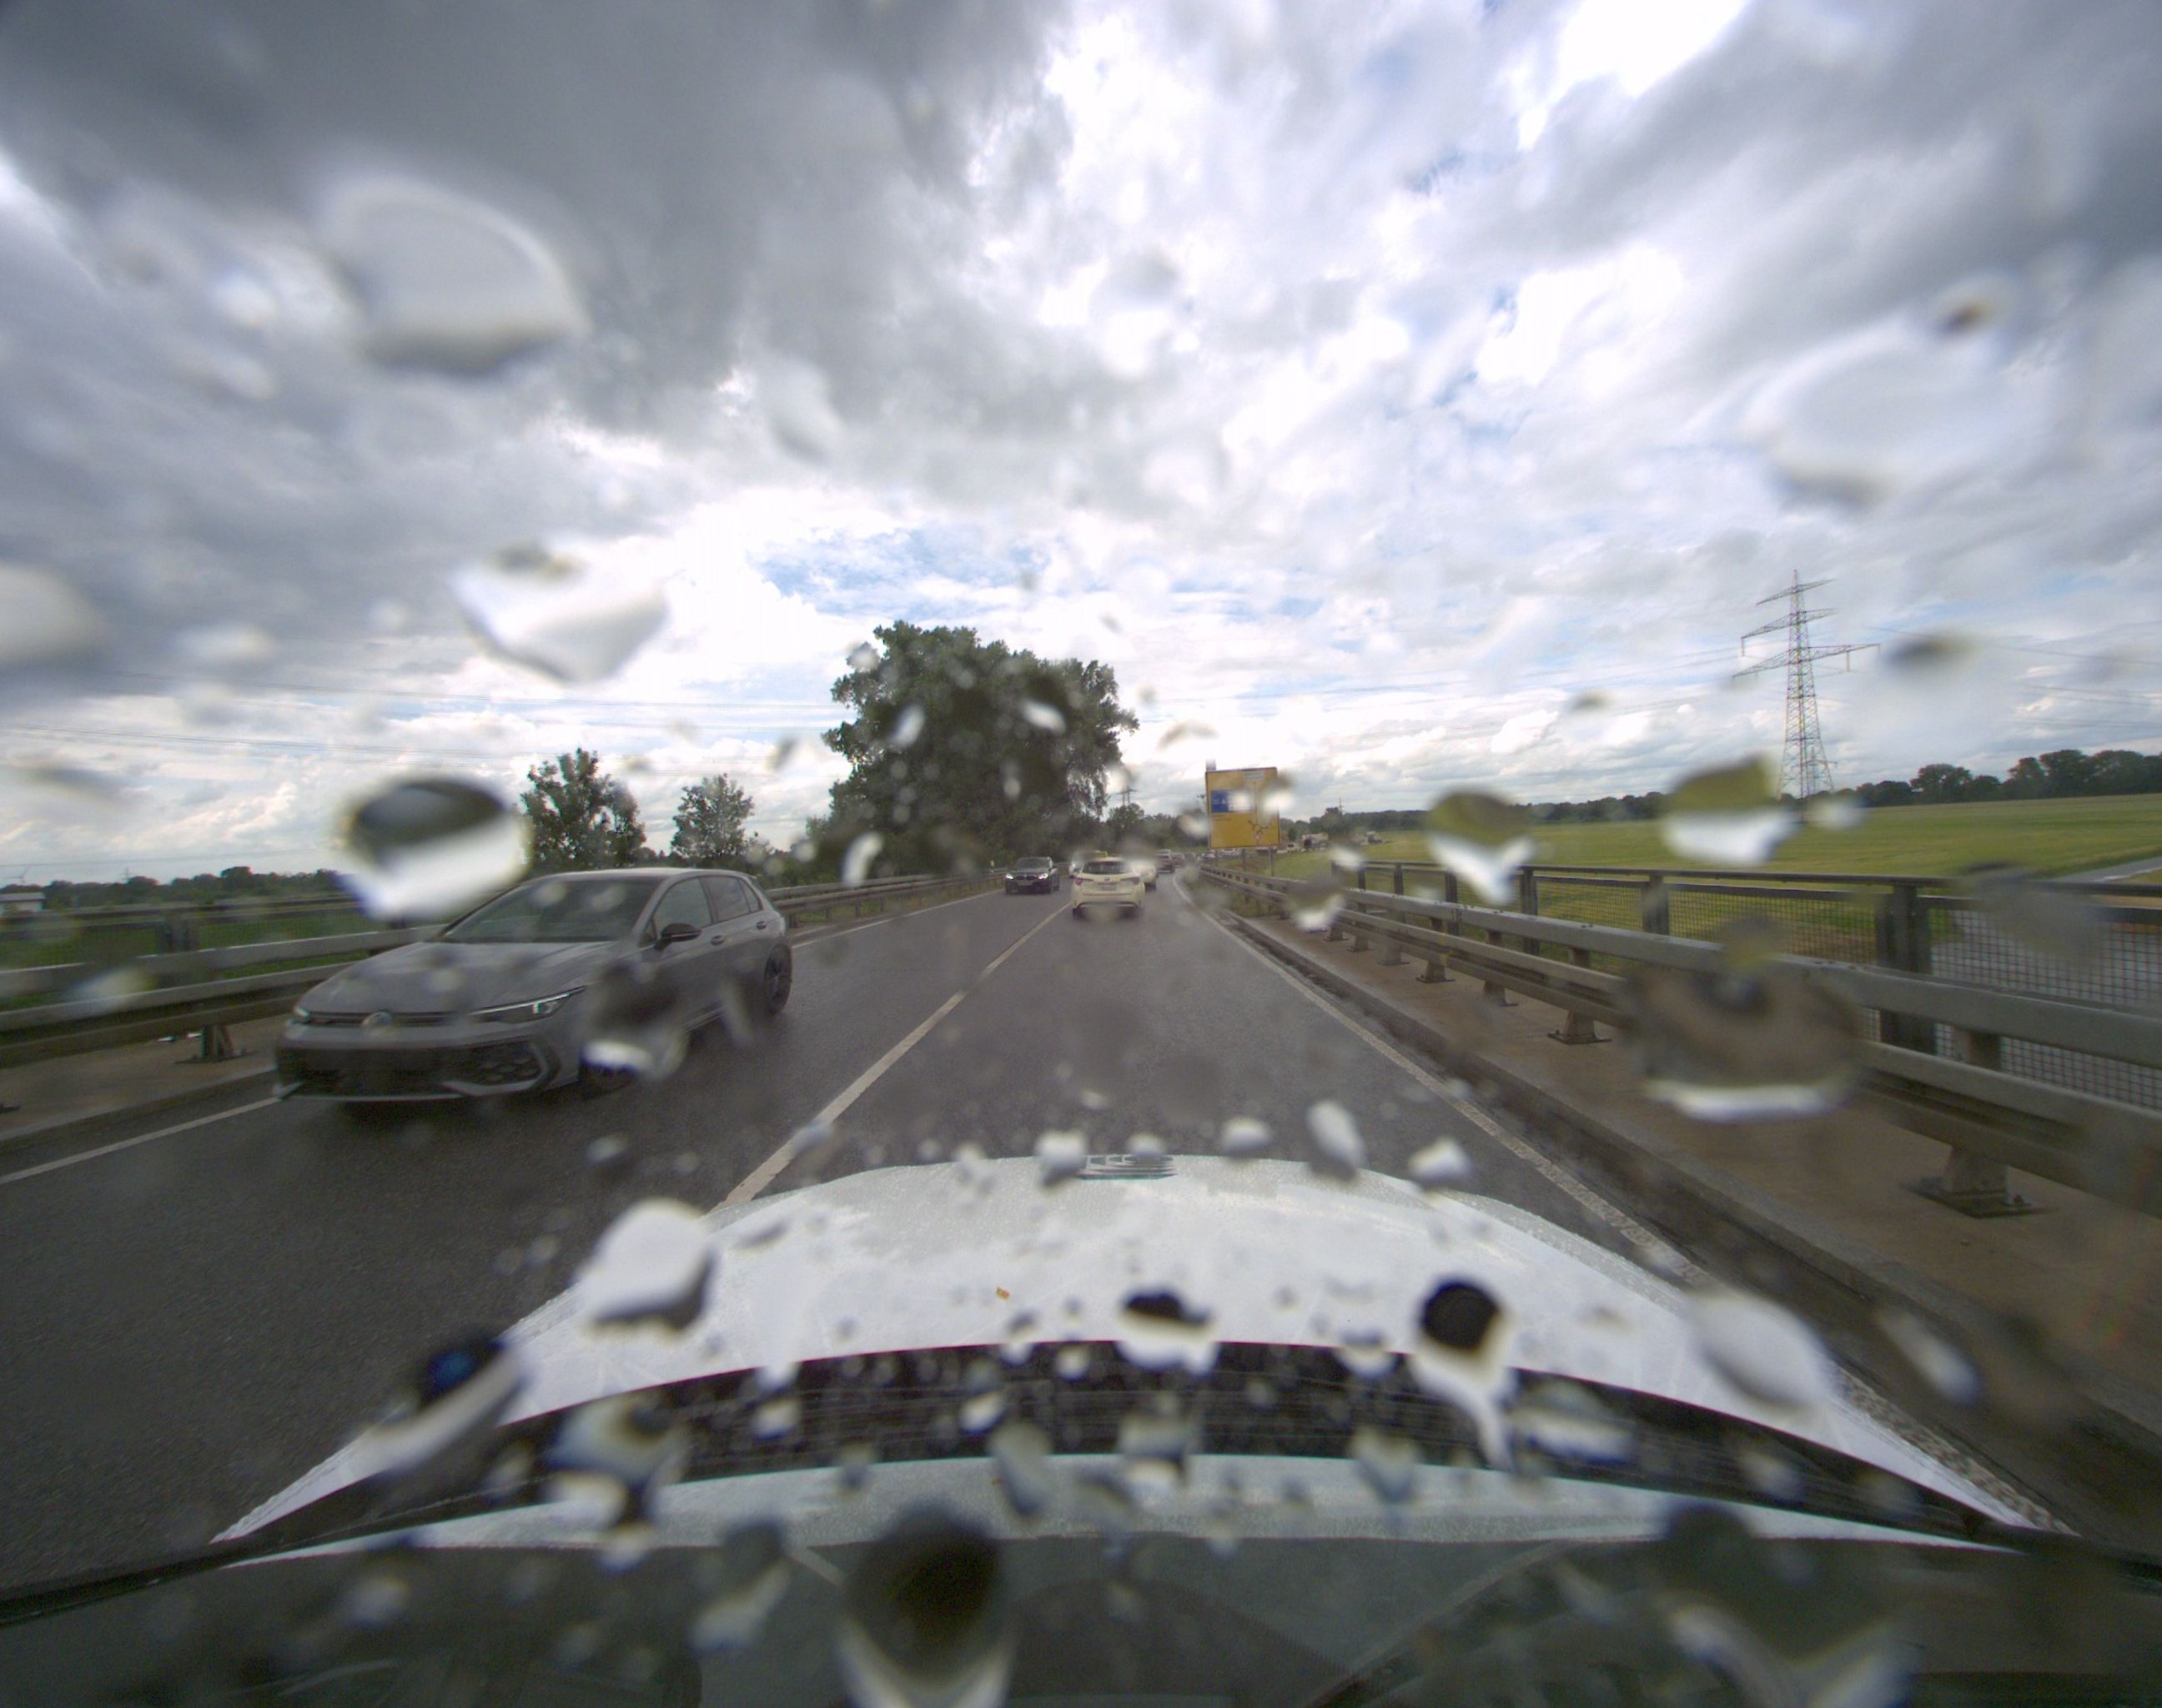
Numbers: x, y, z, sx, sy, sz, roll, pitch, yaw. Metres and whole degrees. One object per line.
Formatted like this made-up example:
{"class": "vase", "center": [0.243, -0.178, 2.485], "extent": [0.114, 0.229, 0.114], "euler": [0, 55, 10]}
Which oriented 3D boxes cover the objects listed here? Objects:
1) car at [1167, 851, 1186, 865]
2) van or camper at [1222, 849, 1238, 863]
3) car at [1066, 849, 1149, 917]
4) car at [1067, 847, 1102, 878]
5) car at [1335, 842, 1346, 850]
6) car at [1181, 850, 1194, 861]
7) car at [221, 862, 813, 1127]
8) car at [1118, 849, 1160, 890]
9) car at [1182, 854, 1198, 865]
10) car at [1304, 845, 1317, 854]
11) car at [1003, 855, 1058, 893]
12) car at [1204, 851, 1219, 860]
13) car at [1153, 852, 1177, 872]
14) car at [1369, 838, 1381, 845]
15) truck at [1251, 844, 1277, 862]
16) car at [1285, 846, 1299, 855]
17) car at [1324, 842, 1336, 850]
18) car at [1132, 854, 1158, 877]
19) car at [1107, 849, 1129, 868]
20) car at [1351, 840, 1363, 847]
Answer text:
{"class": "car", "center": [10.312, 0.440, 87.521], "extent": [1.649, 1.409, 3.917], "euler": [-1, -1, 13]}
{"class": "van or camper", "center": [24.766, 0.391, 135.331], "extent": [1.977, 2.254, 4.019], "euler": [-1, -1, 18]}
{"class": "car", "center": [0.768, 0.682, 20.931], "extent": [1.897, 1.537, 4.166], "euler": [-1, 0, 4]}
{"class": "car", "center": [0.277, 0.512, 53.526], "extent": [1.852, 1.891, 4.497], "euler": [-1, 1, 6]}
{"class": "car", "center": [67.806, -2.034, 212.974], "extent": [1.975, 2.014, 4.024], "euler": [-1, -1, 27]}
{"class": "car", "center": [17.949, 0.231, 137.513], "extent": [1.504, 1.721, 3.437], "euler": [-1, -1, 19]}
{"class": "car", "center": [-3.877, 0.817, 6.658], "extent": [1.827, 1.443, 4.106], "euler": [-1, 0, 3]}
{"class": "car", "center": [2.456, 0.618, 33.825], "extent": [1.570, 1.572, 3.688], "euler": [-1, 0, 6]}
{"class": "car", "center": [13.743, 0.736, 102.522], "extent": [1.471, 1.309, 3.492], "euler": [-1, 0, 17]}
{"class": "car", "center": [54.451, -0.988, 193.267], "extent": [1.975, 2.014, 4.024], "euler": [-1, -1, 28]}
{"class": "car", "center": [-1.947, 0.764, 32.685], "extent": [1.689, 1.400, 4.335], "euler": [-1, 0, 3]}
{"class": "car", "center": [19.276, 0.258, 120.416], "extent": [1.470, 1.309, 3.494], "euler": [-1, 0, 20]}
{"class": "car", "center": [6.669, 0.620, 64.277], "extent": [1.655, 1.464, 3.486], "euler": [-1, 0, 10]}
{"class": "car", "center": [87.153, -3.637, 241.355], "extent": [1.745, 2.013, 4.024], "euler": [-1, 1, 43]}
{"class": "truck", "center": [36.690, -0.157, 162.794], "extent": [3.110, 3.562, 7.567], "euler": [-1, -1, 28]}
{"class": "car", "center": [47.324, -0.828, 182.260], "extent": [2.146, 2.014, 4.024], "euler": [-1, -1, 28]}
{"class": "car", "center": [62.982, -1.983, 205.793], "extent": [2.205, 2.014, 4.024], "euler": [-1, -1, 27]}
{"class": "car", "center": [4.049, 0.715, 51.847], "extent": [1.500, 1.437, 3.357], "euler": [-1, 0, 2]}
{"class": "car", "center": [3.281, 0.372, 71.371], "extent": [1.602, 1.486, 4.007], "euler": [-2, 1, 6]}
{"class": "car", "center": [75.537, -2.837, 222.981], "extent": [1.974, 2.014, 4.025], "euler": [-1, -1, 37]}
